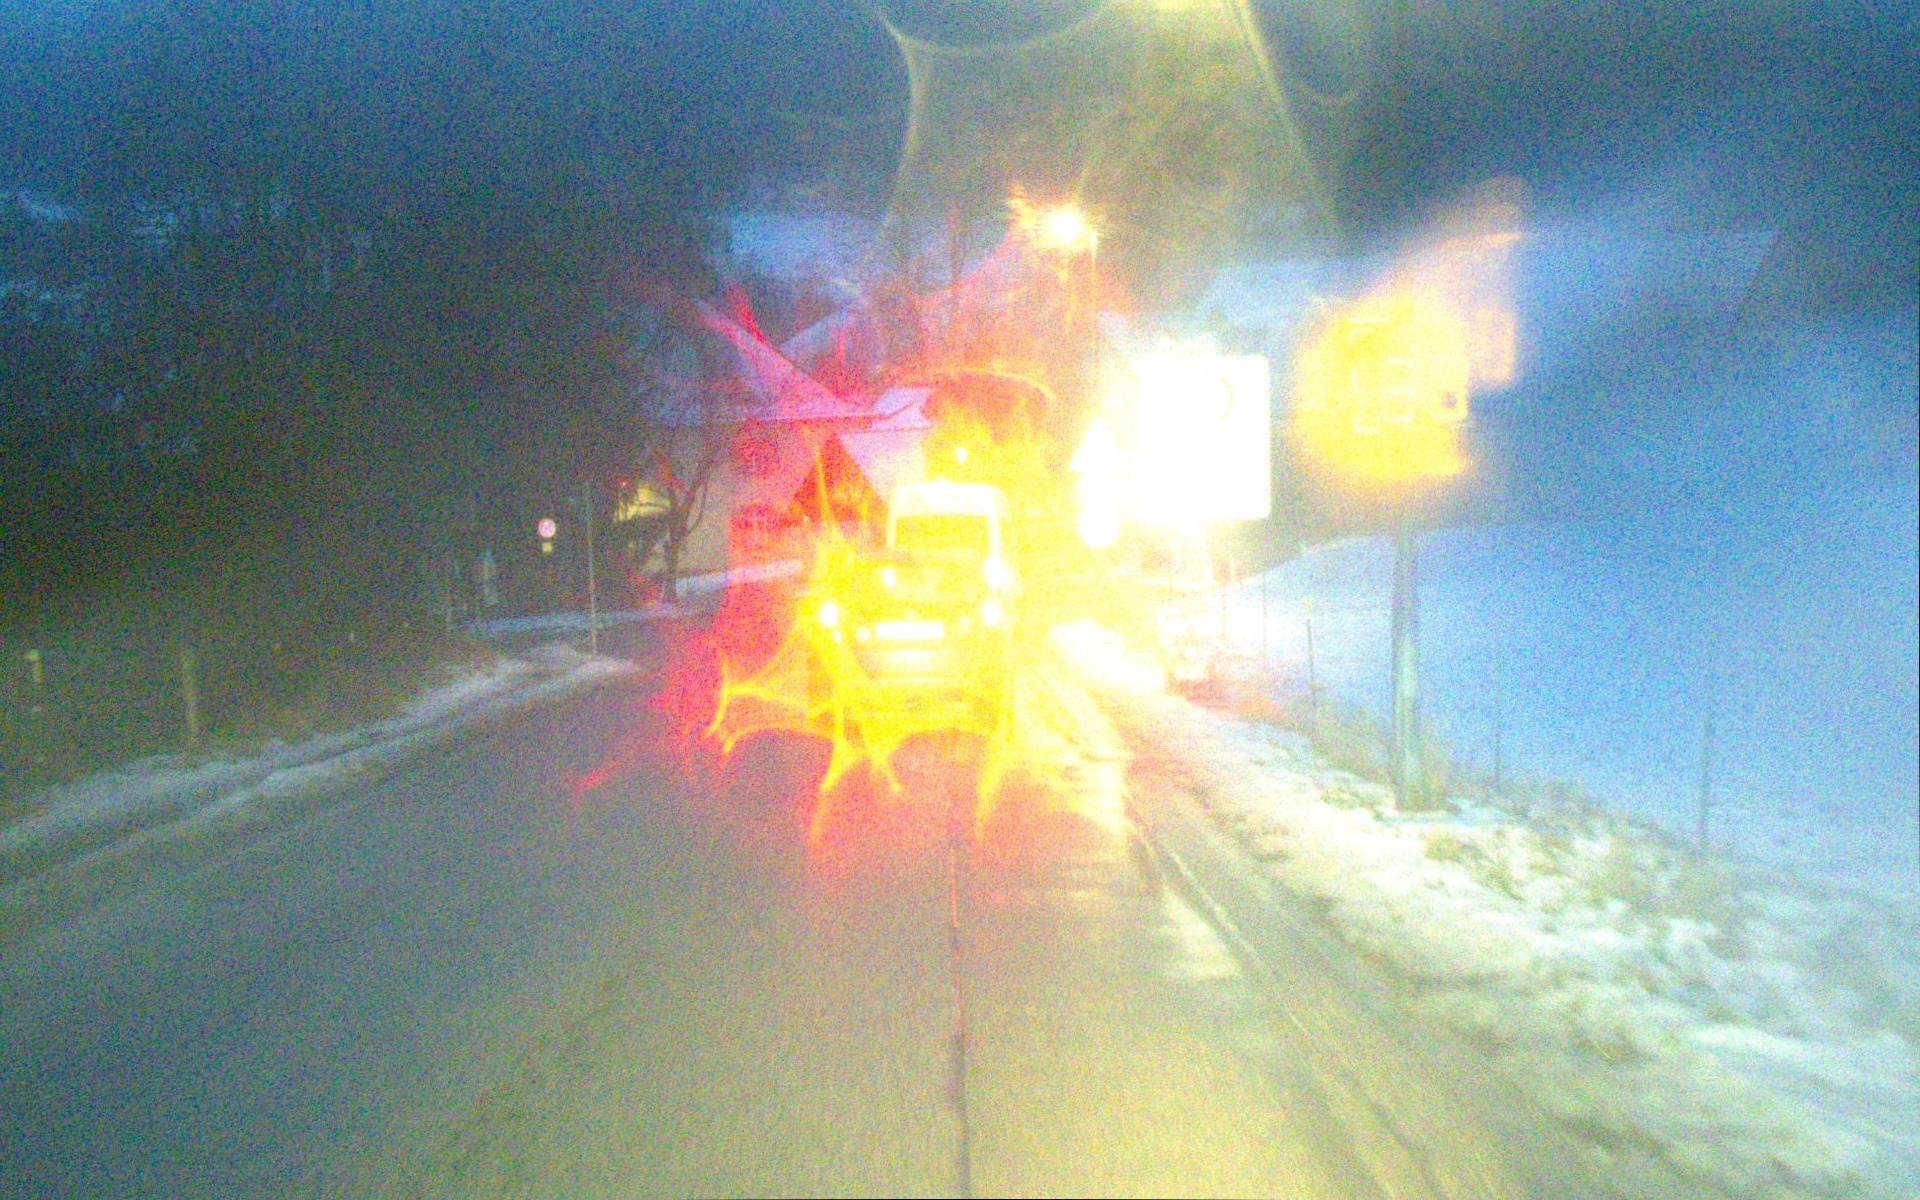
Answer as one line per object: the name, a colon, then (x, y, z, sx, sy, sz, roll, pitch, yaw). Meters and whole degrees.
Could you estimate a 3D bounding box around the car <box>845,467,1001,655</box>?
car: (-0.593, -0.634, 59.769, 2.435, 3.008, 5.325, -3, 0, 0)

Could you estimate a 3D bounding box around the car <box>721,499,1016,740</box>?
car: (-0.788, 0.114, 29.554, 2.274, 1.834, 5.007, -2, 1, -2)
